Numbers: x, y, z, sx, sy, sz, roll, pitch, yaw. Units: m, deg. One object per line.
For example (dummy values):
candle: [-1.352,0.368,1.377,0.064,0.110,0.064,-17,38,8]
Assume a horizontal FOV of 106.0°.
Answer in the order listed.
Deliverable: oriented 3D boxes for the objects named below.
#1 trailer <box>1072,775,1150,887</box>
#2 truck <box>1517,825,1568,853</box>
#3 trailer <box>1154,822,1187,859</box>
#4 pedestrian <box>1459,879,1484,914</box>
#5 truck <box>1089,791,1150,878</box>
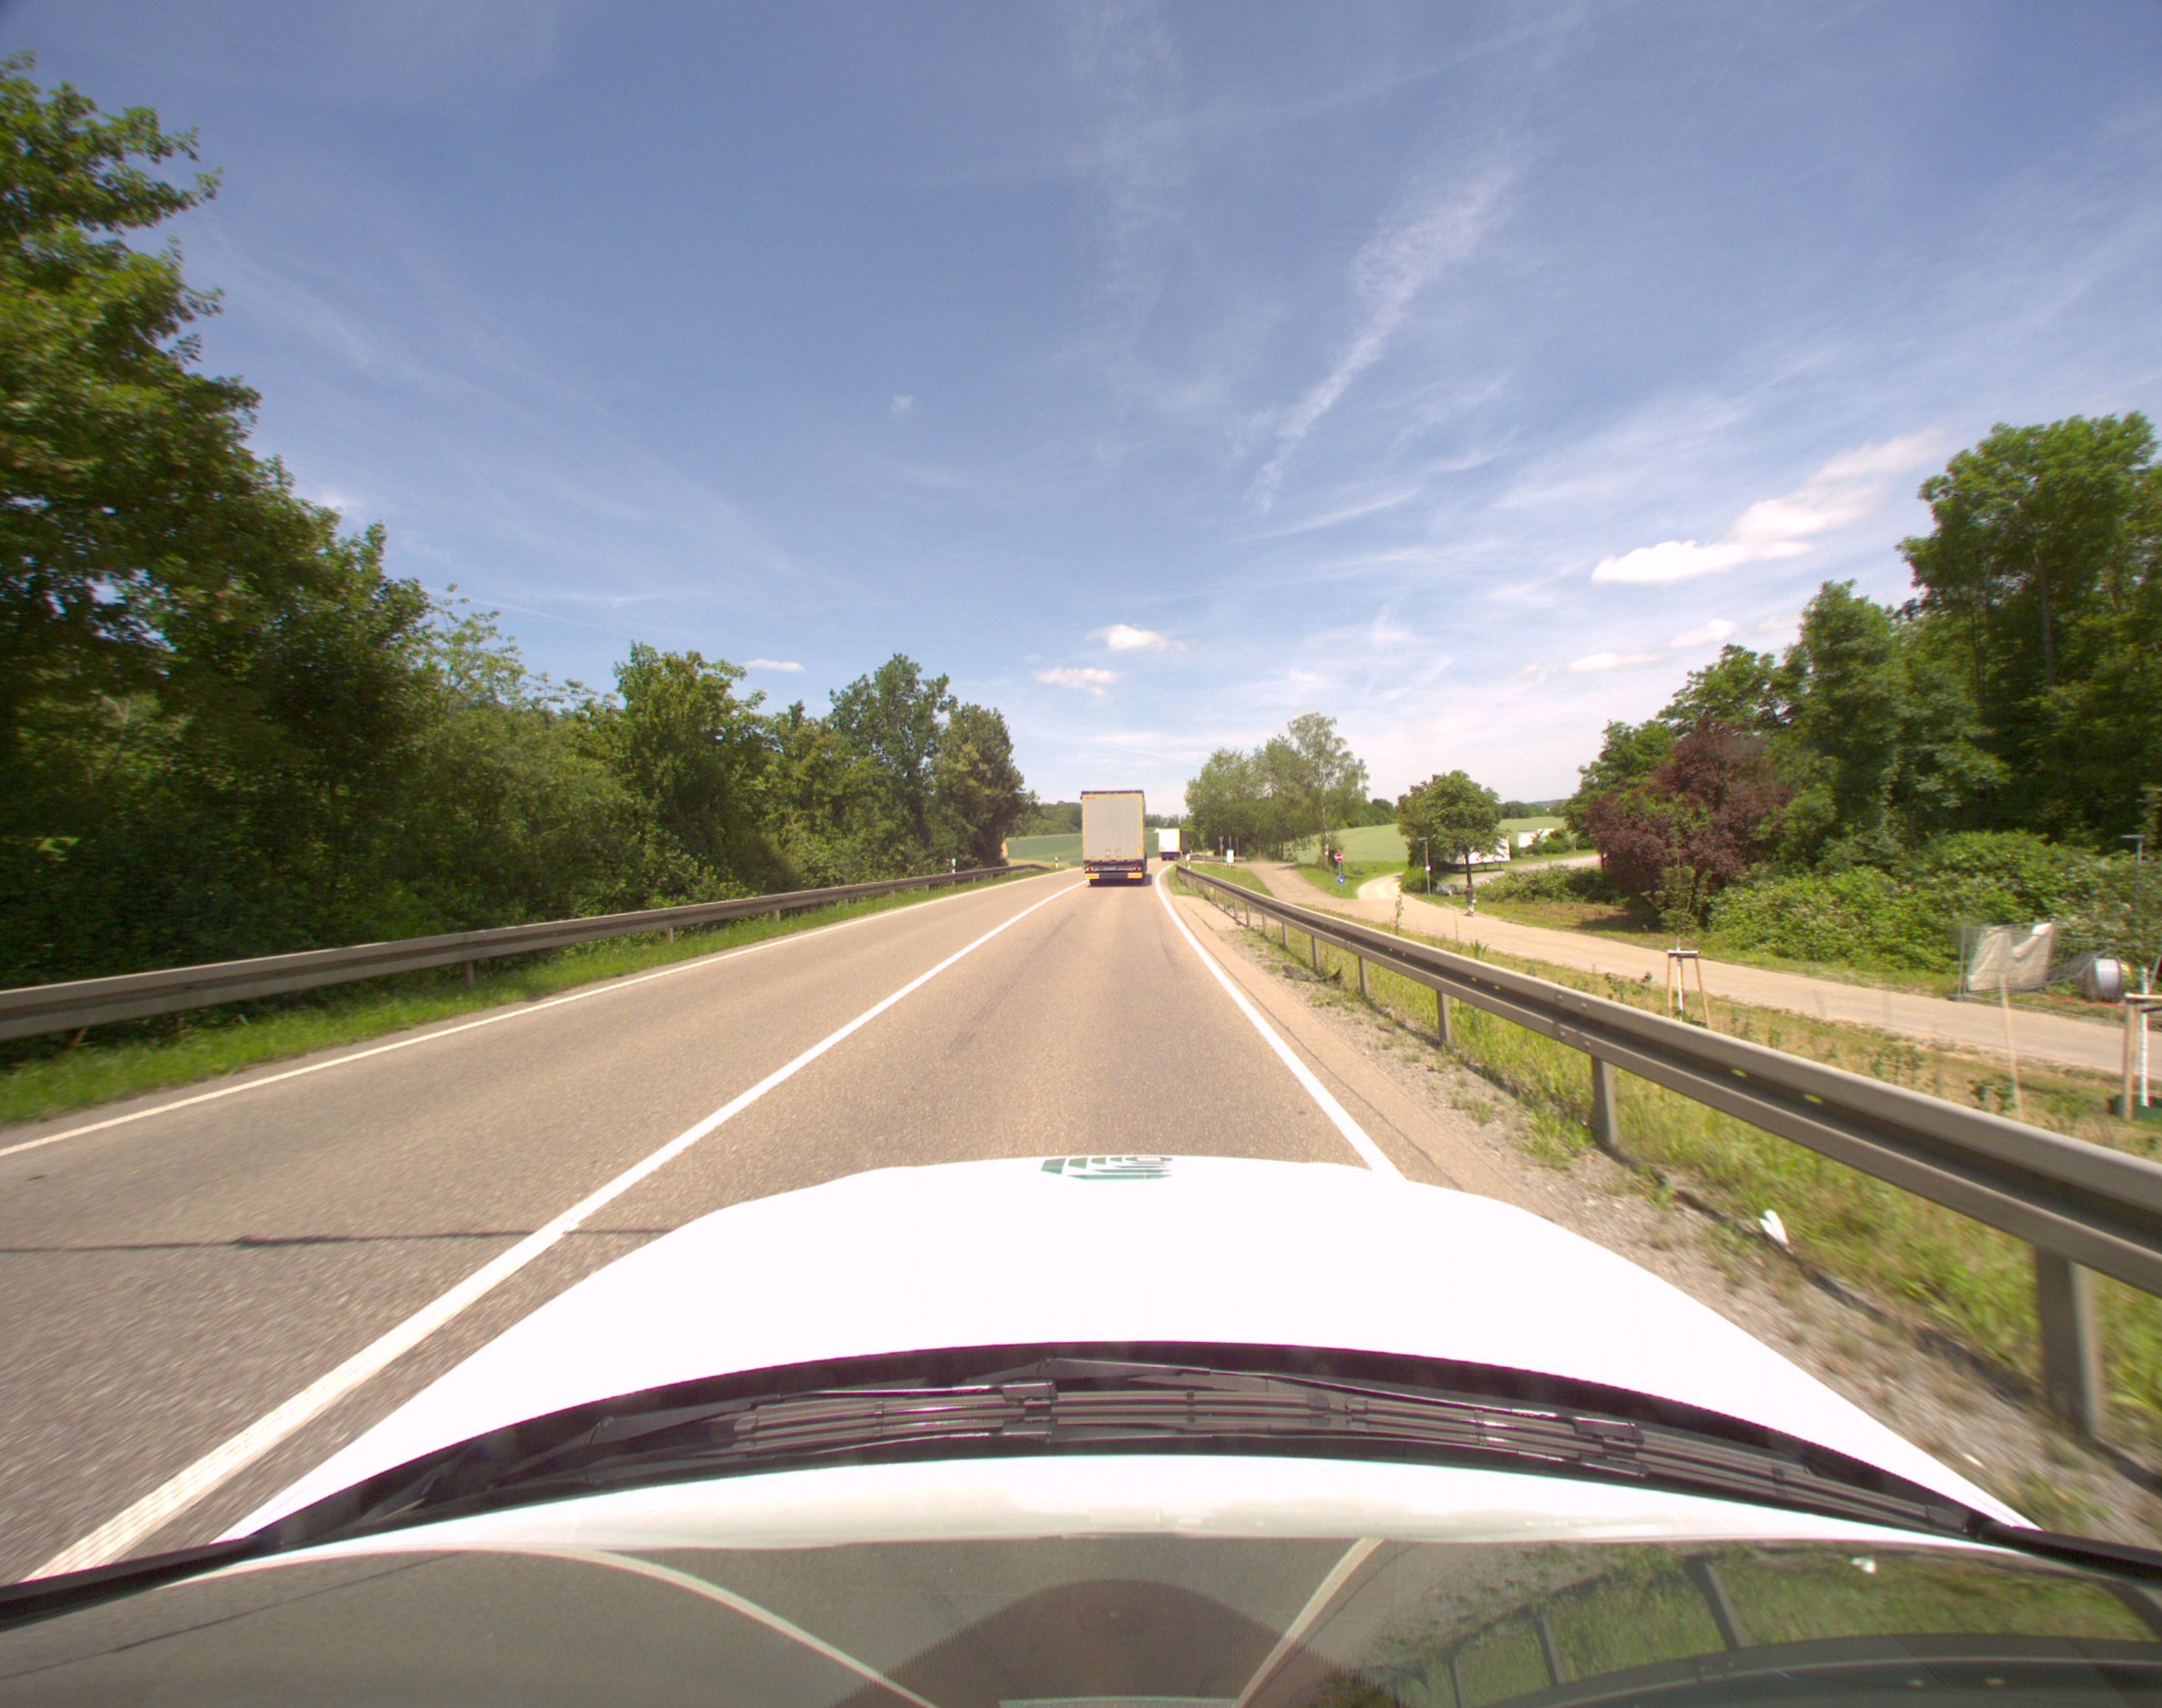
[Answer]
trailer: [1.790,-0.993,39.992,3.104,4.499,13.904,-1,0,5]
truck: [64.935,-2.106,114.568,7.166,3.536,3.120,-3,0,-33]
trailer: [11.807,-1.571,106.084,3.344,4.317,13.902,-1,-1,10]
pedestrian: [21.843,2.364,45.561,0.881,1.811,0.960,-4,0,3]
truck: [2.329,-1.044,46.346,3.104,4.494,6.820,-1,0,5]
